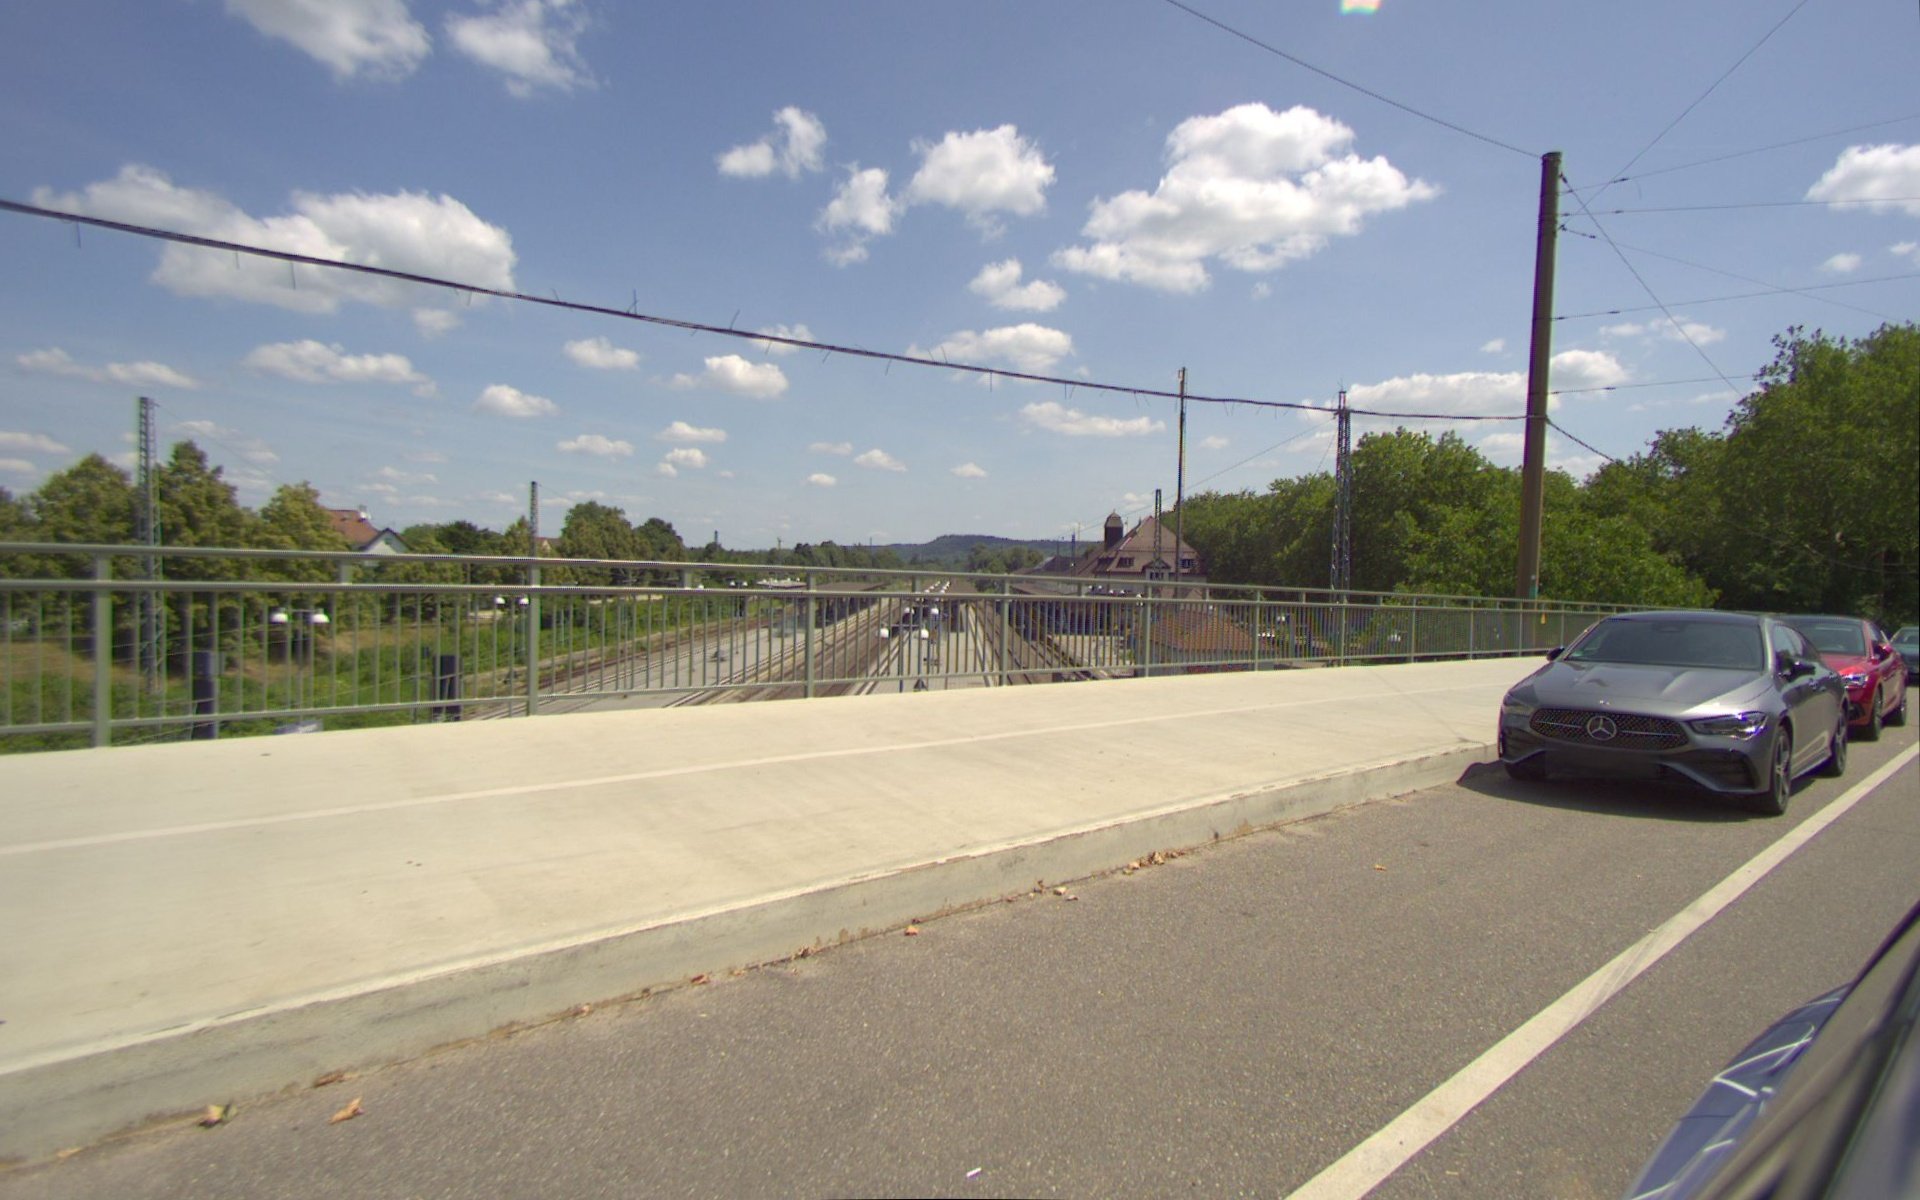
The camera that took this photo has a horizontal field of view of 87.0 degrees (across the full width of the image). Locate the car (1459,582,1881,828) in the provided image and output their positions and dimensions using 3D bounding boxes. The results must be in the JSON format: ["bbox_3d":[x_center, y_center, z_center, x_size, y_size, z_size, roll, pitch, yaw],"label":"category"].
[{"bbox_3d":[6.328,0.714,8.779,4.639,1.572,1.996,2,-1,-42],"label":"car"}]

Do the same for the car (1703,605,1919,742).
[{"bbox_3d":[11.198,0.849,13.141,4.210,1.479,1.649,1,-1,-41],"label":"car"}]

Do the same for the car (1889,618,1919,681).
[{"bbox_3d":[22.885,1.131,23.441,4.515,1.376,1.686,2,-1,-43],"label":"car"}]
